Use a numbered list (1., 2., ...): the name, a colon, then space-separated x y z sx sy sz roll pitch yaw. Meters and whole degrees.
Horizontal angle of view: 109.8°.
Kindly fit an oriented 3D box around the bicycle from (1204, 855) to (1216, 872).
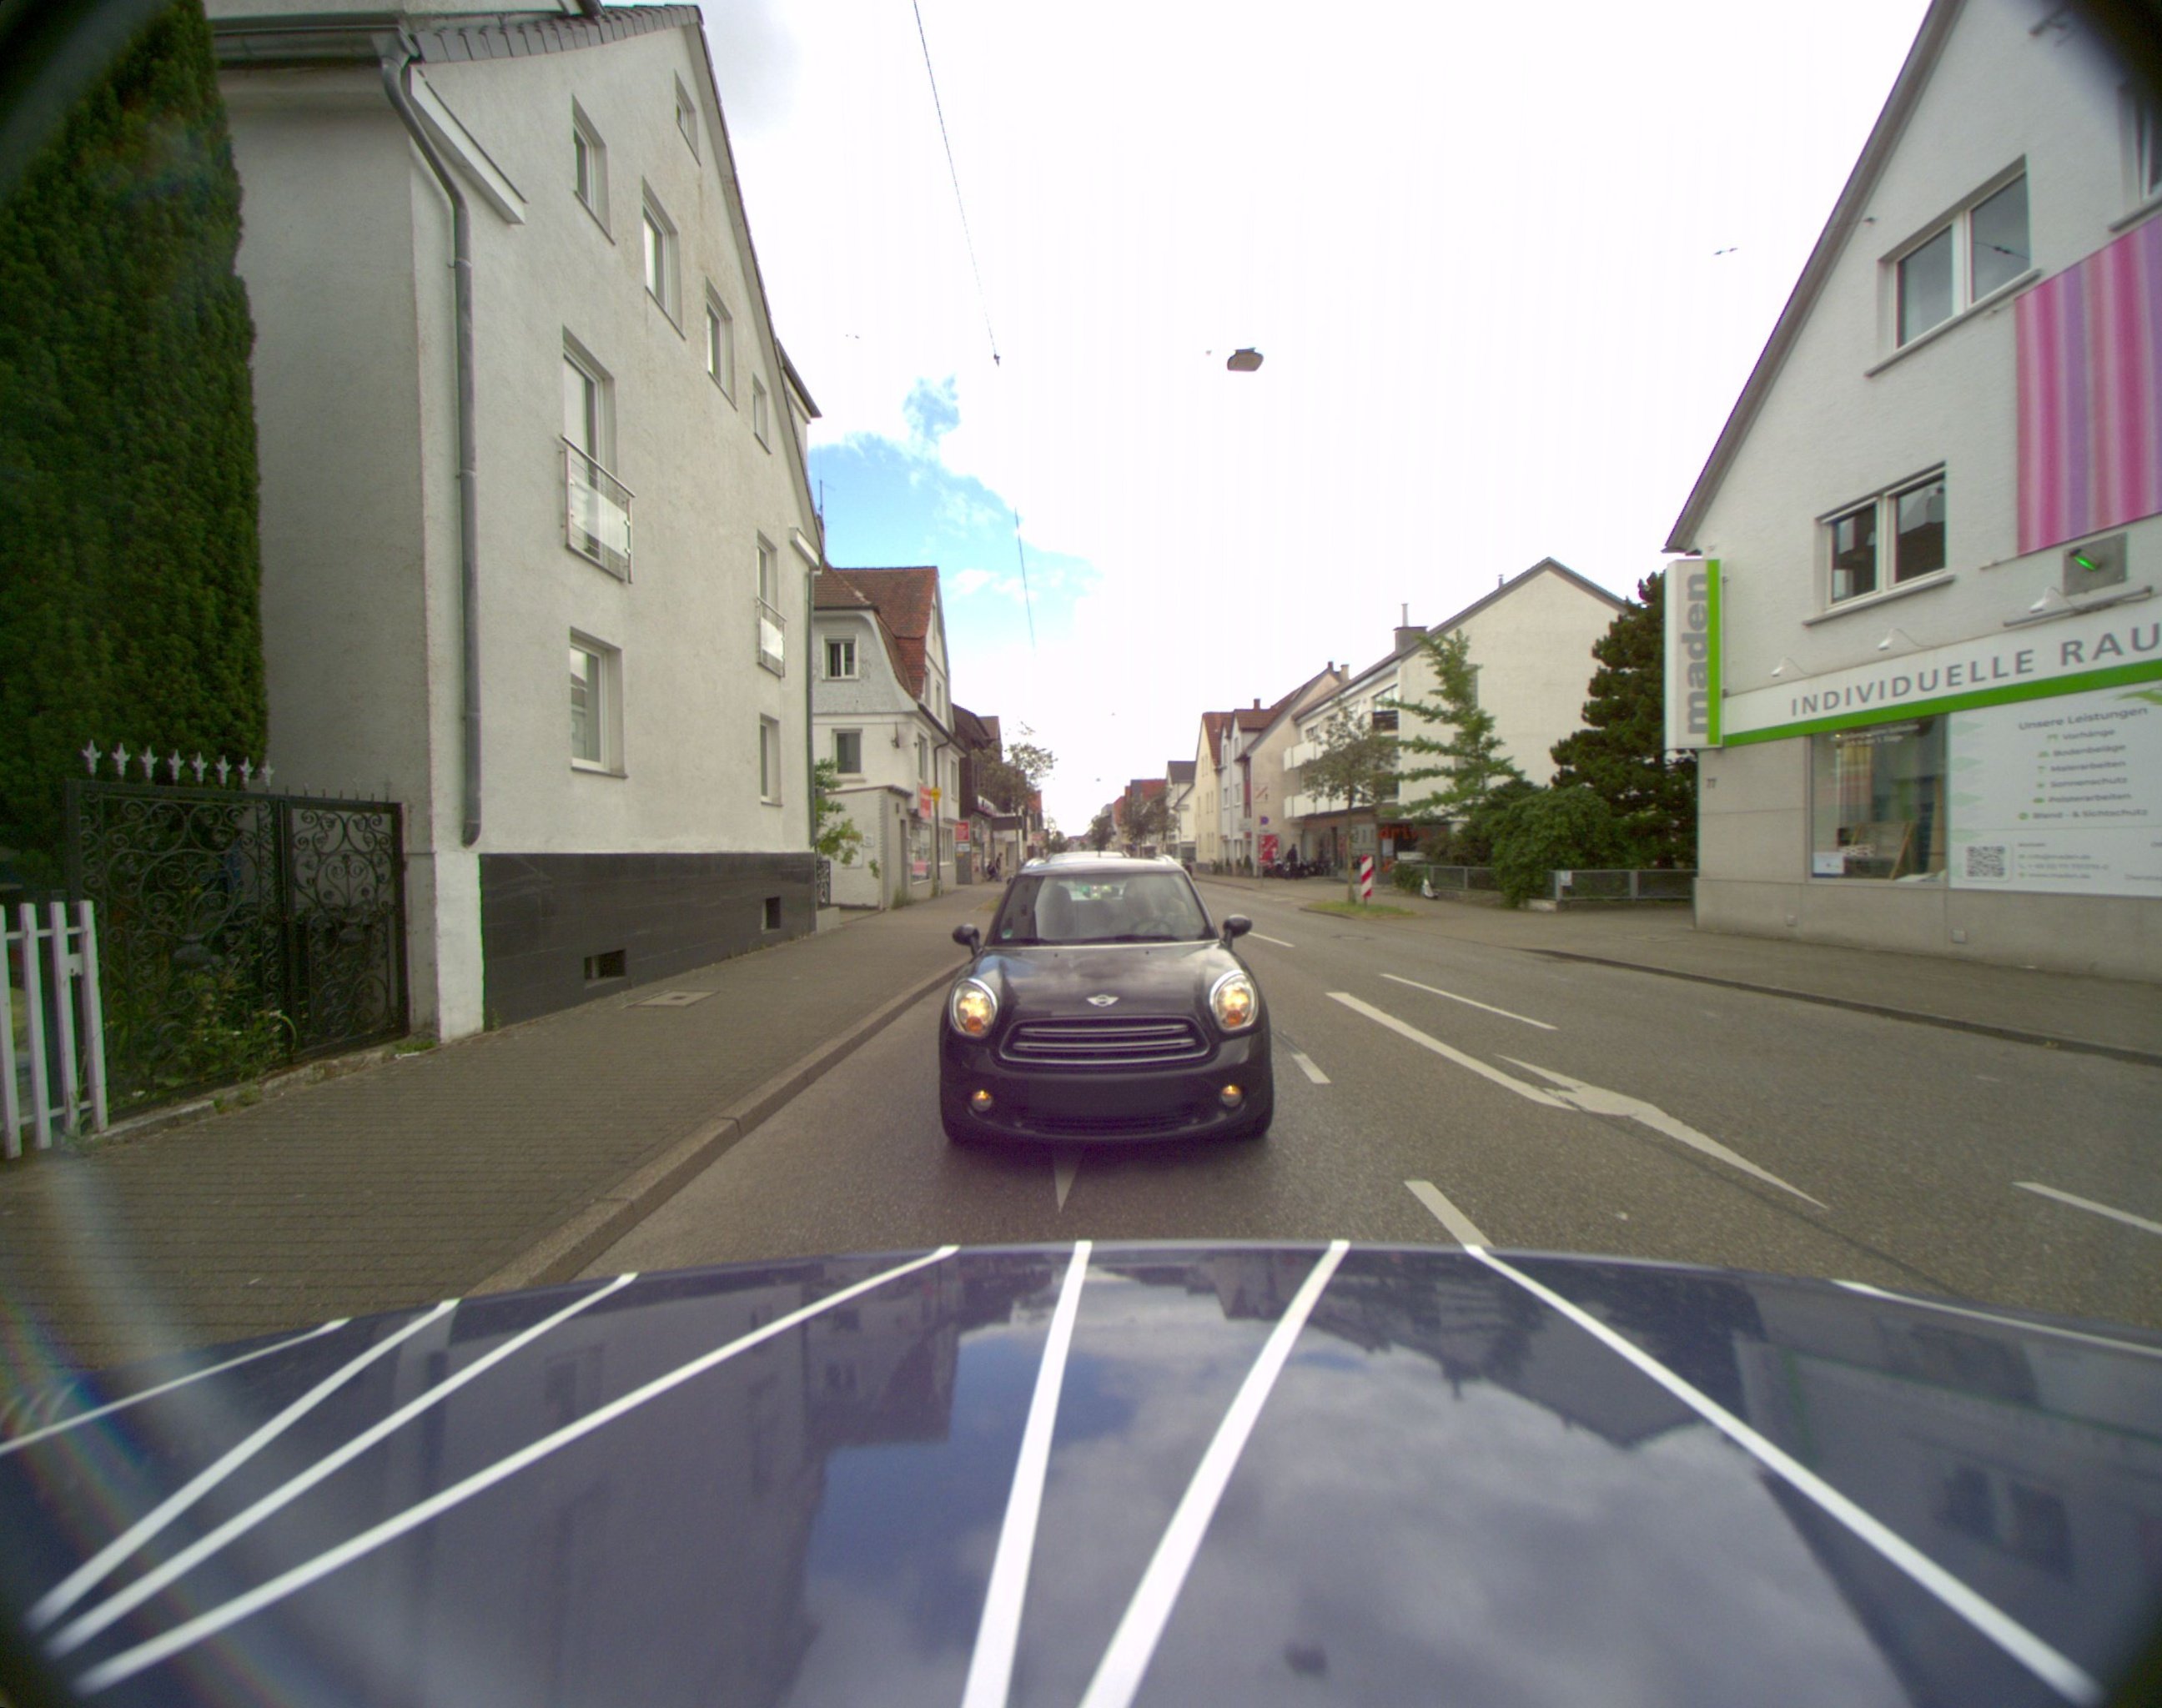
1. bicycle: 9.413 0.695 55.469 0.515 1.189 2.023 -2 1 -1

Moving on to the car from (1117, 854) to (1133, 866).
1. car: 5.590 0.790 97.158 1.716 1.389 3.899 -2 0 -2

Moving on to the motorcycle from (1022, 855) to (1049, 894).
1. motorcycle: -1.880 0.811 31.782 0.672 1.516 2.599 -2 1 6

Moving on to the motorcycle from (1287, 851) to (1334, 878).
1. motorcycle: 12.091 0.540 40.129 2.231 1.258 0.613 -4 1 -2

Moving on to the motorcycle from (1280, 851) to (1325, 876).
1. motorcycle: 12.127 0.516 41.680 2.231 1.258 0.613 -4 1 -2

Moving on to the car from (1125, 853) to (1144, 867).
1. car: 6.078 0.663 86.412 1.716 1.389 3.899 -2 0 -2

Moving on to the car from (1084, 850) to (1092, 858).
1. car: 1.855 -0.066 192.041 1.855 1.932 4.489 1 0 -2

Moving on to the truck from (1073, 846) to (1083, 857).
1. truck: -0.897 -0.609 219.274 2.800 3.020 8.250 -2 0 0

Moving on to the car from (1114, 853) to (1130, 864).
1. car: 5.471 0.596 102.143 1.716 1.389 3.899 -2 0 -2

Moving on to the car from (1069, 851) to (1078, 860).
1. car: -1.648 0.271 168.131 2.059 2.002 4.186 -2 0 -1

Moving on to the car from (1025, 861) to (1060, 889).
1. car: -2.138 1.172 43.257 1.830 1.400 4.564 -2 0 -1

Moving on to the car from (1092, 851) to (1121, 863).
1. car: 3.814 0.434 114.454 4.008 1.772 1.994 -2 1 -42

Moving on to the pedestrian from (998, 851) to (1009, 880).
1. pedestrian: -4.713 0.710 46.036 0.644 1.730 0.742 0 1 -6

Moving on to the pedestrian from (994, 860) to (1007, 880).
1. pedestrian: -4.950 1.004 46.821 0.742 1.204 0.644 0 1 -1

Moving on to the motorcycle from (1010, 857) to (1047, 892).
1. motorcycle: -2.254 0.869 32.923 0.648 1.432 2.472 -1 1 19

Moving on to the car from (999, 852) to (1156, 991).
1. car: -0.024 0.815 11.583 1.855 1.615 4.736 -2 0 0

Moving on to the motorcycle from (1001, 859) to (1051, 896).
1. motorcycle: -2.142 0.890 29.374 0.777 1.373 2.237 -2 1 -37

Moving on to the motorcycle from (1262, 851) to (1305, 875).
1. motorcycle: 11.722 0.512 44.022 2.231 1.258 0.613 -4 1 -2

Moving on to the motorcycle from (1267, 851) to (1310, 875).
1. motorcycle: 11.808 0.512 43.285 2.231 1.258 0.613 -4 1 -2

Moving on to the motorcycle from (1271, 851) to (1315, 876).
1. motorcycle: 11.849 0.532 42.504 2.231 1.258 0.699 -4 1 -2

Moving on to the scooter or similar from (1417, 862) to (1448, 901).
1. scooter or similar: 10.365 0.805 22.429 0.340 1.105 1.180 -2 1 0

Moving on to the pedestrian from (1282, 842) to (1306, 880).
1. pedestrian: 10.760 0.338 38.421 0.753 1.838 1.019 -5 1 0

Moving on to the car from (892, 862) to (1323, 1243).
1. car: 0.044 0.894 5.707 1.855 1.527 4.735 -2 0 -2

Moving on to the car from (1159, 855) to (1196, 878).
1. car: 6.441 0.809 51.126 1.792 1.409 4.340 0 0 -1

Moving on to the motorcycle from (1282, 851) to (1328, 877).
1. motorcycle: 12.083 0.523 40.950 2.231 1.258 0.613 -4 1 -2
